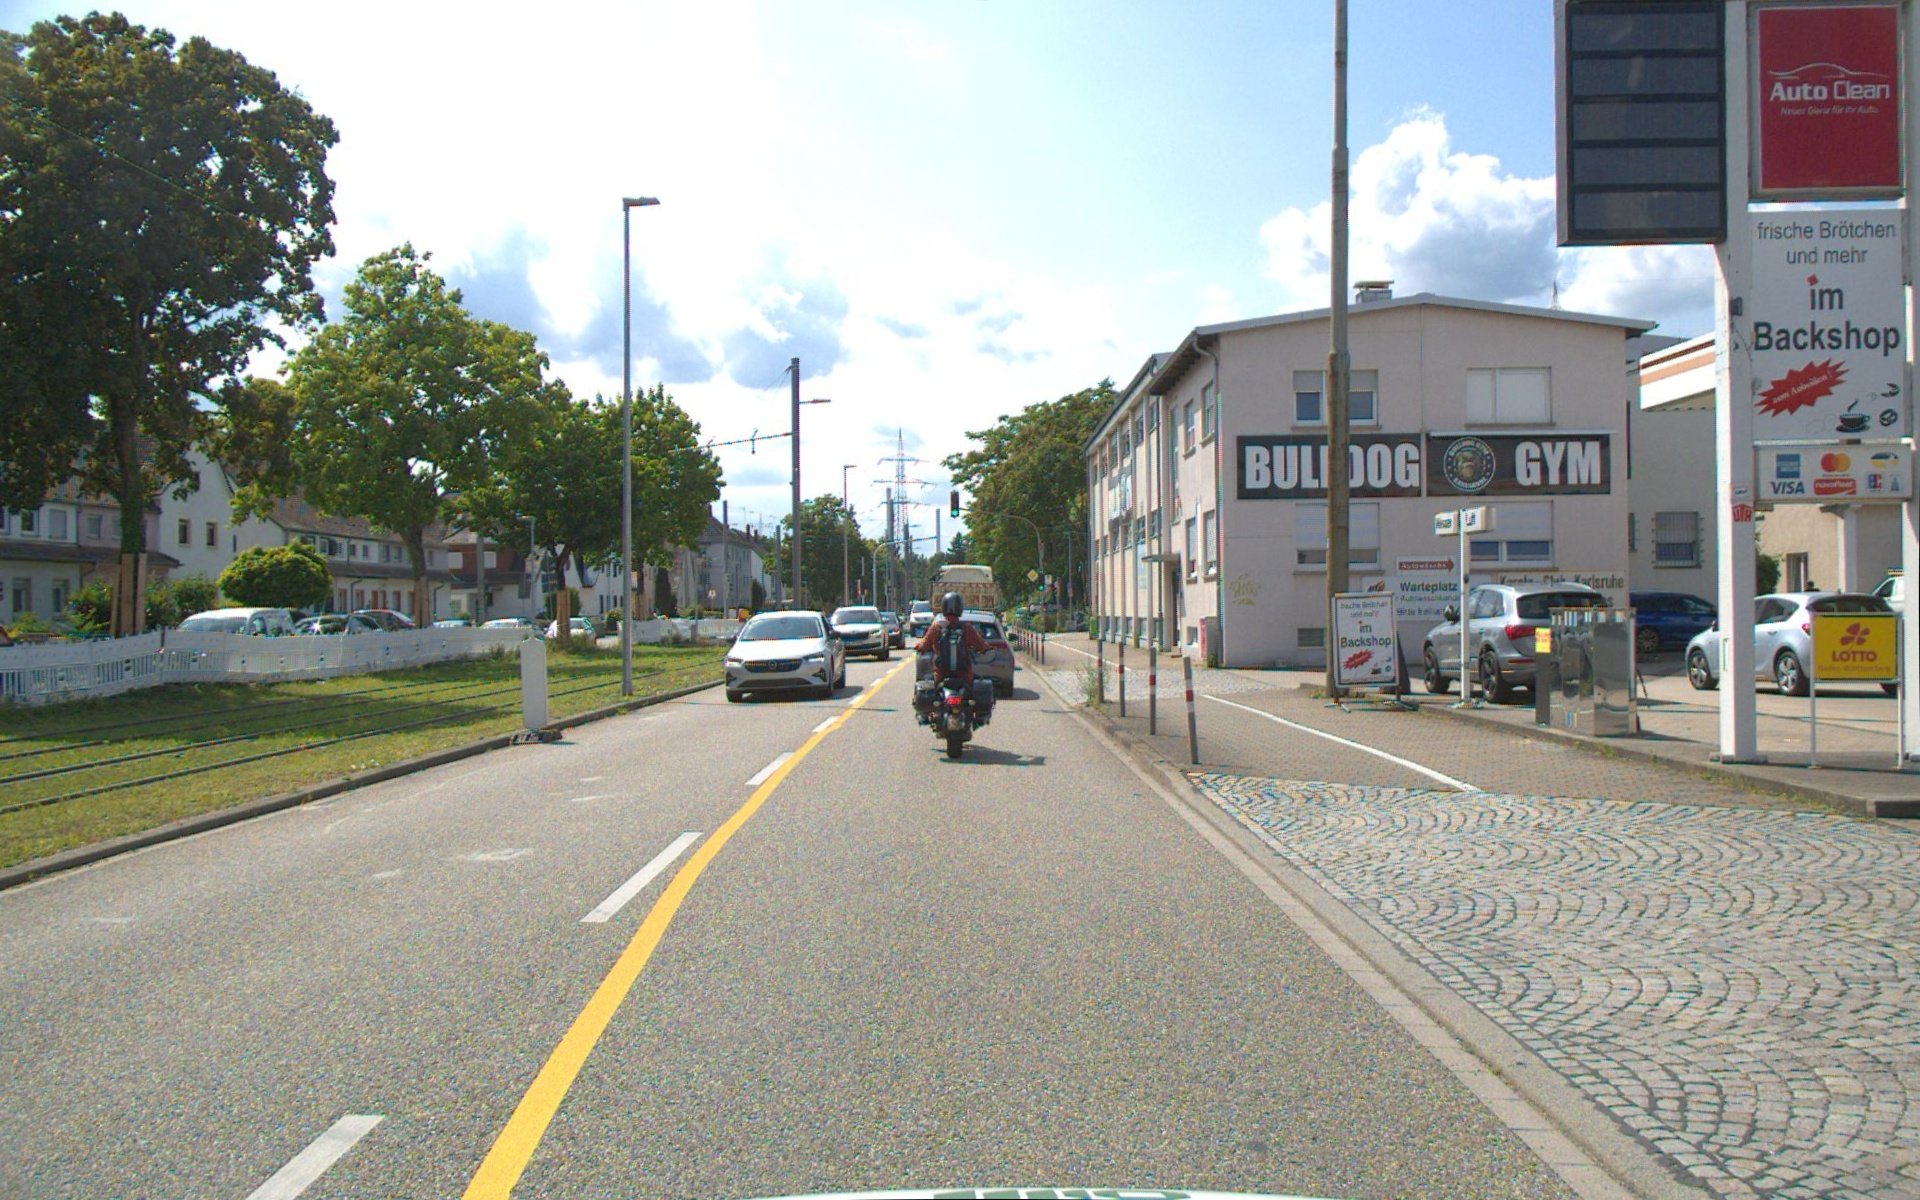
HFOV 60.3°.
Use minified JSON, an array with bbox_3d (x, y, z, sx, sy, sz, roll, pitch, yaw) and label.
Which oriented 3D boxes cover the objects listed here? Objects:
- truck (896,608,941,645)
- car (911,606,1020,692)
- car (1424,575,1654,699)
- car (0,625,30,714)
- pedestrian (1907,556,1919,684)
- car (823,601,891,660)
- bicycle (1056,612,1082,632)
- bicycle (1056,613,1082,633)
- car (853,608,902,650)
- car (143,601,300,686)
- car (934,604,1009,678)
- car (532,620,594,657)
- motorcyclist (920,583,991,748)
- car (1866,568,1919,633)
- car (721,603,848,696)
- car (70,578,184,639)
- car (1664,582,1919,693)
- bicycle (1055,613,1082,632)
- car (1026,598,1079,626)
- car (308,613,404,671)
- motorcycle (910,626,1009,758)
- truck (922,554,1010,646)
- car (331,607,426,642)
[{"bbox_3d":[-2.250,1.414,90.442,1.781,1.943,5.119,1,0,6],"label":"truck"},{"bbox_3d":[0.035,0.861,30.557,1.697,1.428,4.083,2,0,-4],"label":"car"},{"bbox_3d":[8.461,0.521,24.618,1.905,1.653,4.616,0,-1,1],"label":"car"},{"bbox_3d":[-15.292,1.078,24.906,1.050,1.371,2.450,-2,-1,4],"label":"car"},{"bbox_3d":[13.772,0.287,23.325,0.486,1.808,0.577,1,-1,-2],"label":"pedestrian"},{"bbox_3d":[-3.135,0.938,51.056,1.787,1.695,4.461,-2,-1,0],"label":"car"},{"bbox_3d":[6.947,1.410,105.459,1.671,1.192,0.438,1,-1,5],"label":"bicycle"},{"bbox_3d":[6.917,1.461,104.947,1.671,1.192,0.438,1,-1,5],"label":"bicycle"},{"bbox_3d":[-3.171,1.126,64.268,1.658,1.437,3.858,-4,-1,-1],"label":"car"},{"bbox_3d":[-15.815,0.915,35.631,1.589,1.680,3.899,-2,-1,0],"label":"car"},{"bbox_3d":[0.325,1.032,43.980,1.862,1.742,4.720,-1,1,1],"label":"car"},{"bbox_3d":[-15.456,1.490,64.508,1.490,1.378,3.621,1,-1,0],"label":"car"},{"bbox_3d":[-0.043,0.663,16.885,0.684,1.632,0.692,1,-1,0],"label":"motorcyclist"},{"bbox_3d":[31.501,0.044,53.977,1.750,2.068,3.844,1,-1,0],"label":"car"},{"bbox_3d":[-3.017,0.851,29.244,1.784,1.470,4.482,-1,-1,-1],"label":"car"},{"bbox_3d":[-29.078,0.322,57.877,1.953,2.049,3.999,1,-1,0],"label":"car"},{"bbox_3d":[12.596,0.562,25.216,1.658,1.496,4.421,-2,-1,-2],"label":"car"},{"bbox_3d":[6.850,1.430,104.426,1.671,1.192,0.438,1,-1,5],"label":"bicycle"},{"bbox_3d":[6.999,0.917,124.344,3.970,1.959,1.773,2,-2,-45],"label":"car"},{"bbox_3d":[-15.582,1.080,42.798,1.322,1.401,3.114,-2,-1,0],"label":"car"},{"bbox_3d":[0.000,0.900,17.118,0.923,1.221,2.472,1,0,0],"label":"motorcycle"},{"bbox_3d":[0.322,0.069,62.388,2.905,3.229,7.766,1,-1,3],"label":"truck"},{"bbox_3d":[-27.681,1.161,78.766,3.905,1.536,1.725,-1,0,-1],"label":"car"}]
